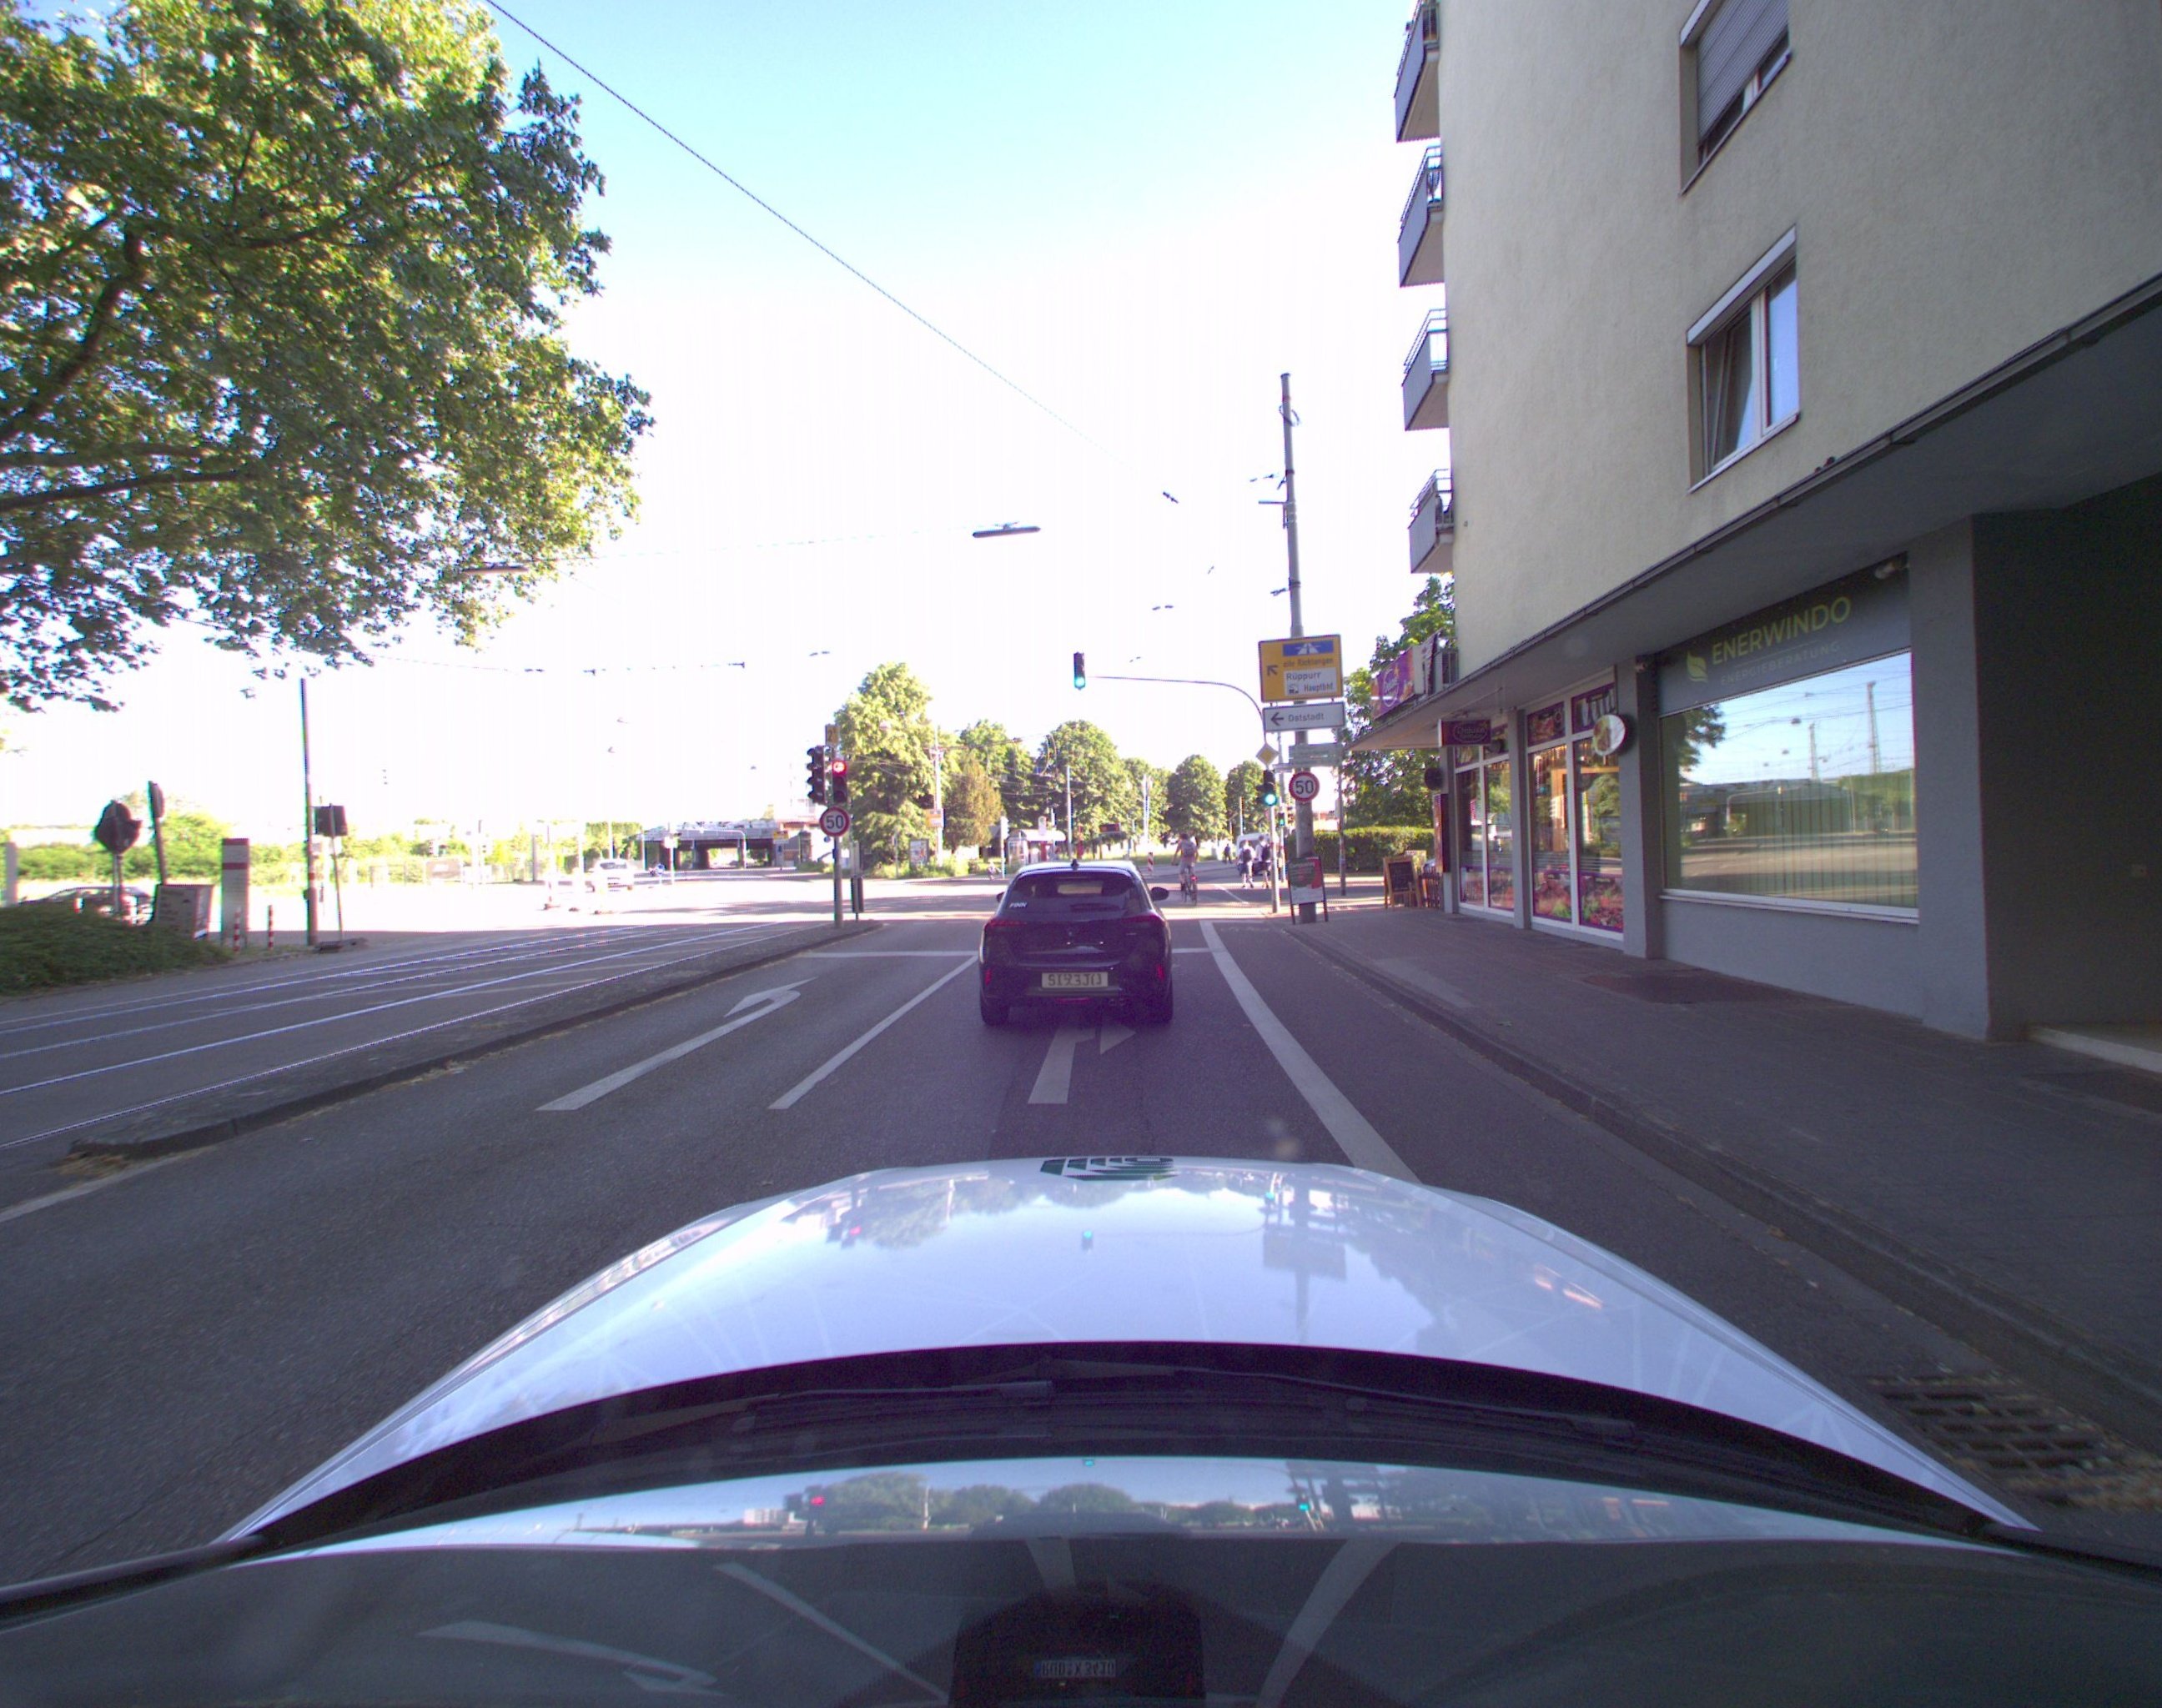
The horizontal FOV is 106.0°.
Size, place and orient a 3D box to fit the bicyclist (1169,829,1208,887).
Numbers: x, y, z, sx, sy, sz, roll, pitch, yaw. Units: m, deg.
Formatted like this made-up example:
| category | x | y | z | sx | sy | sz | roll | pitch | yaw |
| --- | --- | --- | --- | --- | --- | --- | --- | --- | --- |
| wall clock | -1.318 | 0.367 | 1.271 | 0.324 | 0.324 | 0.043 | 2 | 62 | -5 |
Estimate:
| category | x | y | z | sx | sy | sz | roll | pitch | yaw |
| --- | --- | --- | --- | --- | --- | --- | --- | --- | --- |
| bicyclist | 2.904 | 0.106 | 22.159 | 0.837 | 1.510 | 1.368 | -2 | 0 | -1 |

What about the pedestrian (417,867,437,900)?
| category | x | y | z | sx | sy | sz | roll | pitch | yaw |
| --- | --- | --- | --- | --- | --- | --- | --- | --- | --- |
| pedestrian | -32.242 | 1.461 | 40.142 | 0.602 | 1.596 | 0.679 | 0 | -1 | -24 |

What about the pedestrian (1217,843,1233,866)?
| category | x | y | z | sx | sy | sz | roll | pitch | yaw |
| --- | --- | --- | --- | --- | --- | --- | --- | --- | --- |
| pedestrian | 11.604 | 0.049 | 65.500 | 0.949 | 1.793 | 1.001 | -2 | 0 | 27 |

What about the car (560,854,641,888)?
| category | x | y | z | sx | sy | sz | roll | pitch | yaw |
| --- | --- | --- | --- | --- | --- | --- | --- | --- | --- |
| car | -25.277 | 0.900 | 42.790 | 4.570 | 1.631 | 2.013 | -2 | 0 | 36 |

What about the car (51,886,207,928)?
| category | x | y | z | sx | sy | sz | roll | pitch | yaw |
| --- | --- | --- | --- | --- | --- | --- | --- | --- | --- |
| car | -42.388 | 2.333 | 36.415 | 4.007 | 1.419 | 1.880 | -1 | 6 | -25 |

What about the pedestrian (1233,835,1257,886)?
| category | x | y | z | sx | sy | sz | roll | pitch | yaw |
| --- | --- | --- | --- | --- | --- | --- | --- | --- | --- |
| pedestrian | 5.861 | 0.242 | 29.174 | 0.696 | 1.792 | 0.617 | -2 | 0 | 1 |

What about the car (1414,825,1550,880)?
| category | x | y | z | sx | sy | sz | roll | pitch | yaw |
| --- | --- | --- | --- | --- | --- | --- | --- | --- | --- |
| car | 14.782 | -0.029 | 30.233 | 4.150 | 1.814 | 1.811 | -2 | -3 | 9 |

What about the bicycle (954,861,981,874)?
| category | x | y | z | sx | sy | sz | roll | pitch | yaw |
| --- | --- | --- | --- | --- | --- | --- | --- | --- | --- |
| bicycle | -8.637 | 1.018 | 62.014 | 1.866 | 0.906 | 0.661 | -2 | 0 | 8 |

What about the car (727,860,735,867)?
| category | x | y | z | sx | sy | sz | roll | pitch | yaw |
| --- | --- | --- | --- | --- | --- | --- | --- | --- | --- |
| car | -102.930 | 2.806 | 239.685 | 2.003 | 2.014 | 3.967 | 0 | -1 | -25 |

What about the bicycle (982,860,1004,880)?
| category | x | y | z | sx | sy | sz | roll | pitch | yaw |
| --- | --- | --- | --- | --- | --- | --- | --- | --- | --- |
| bicycle | -4.810 | 0.869 | 44.741 | 0.821 | 1.059 | 1.885 | -2 | 0 | 4 |

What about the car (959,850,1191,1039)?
| category | x | y | z | sx | sy | sz | roll | pitch | yaw |
| --- | --- | --- | --- | --- | --- | --- | --- | --- | --- |
| car | 0.048 | 0.709 | 8.421 | 1.793 | 1.441 | 3.943 | -2 | 0 | 3 |

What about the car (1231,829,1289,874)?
| category | x | y | z | sx | sy | sz | roll | pitch | yaw |
| --- | --- | --- | --- | --- | --- | --- | --- | --- | --- |
| car | 9.704 | -0.098 | 43.914 | 2.070 | 2.277 | 4.331 | -1 | -1 | 25 |

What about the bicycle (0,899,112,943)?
| category | x | y | z | sx | sy | sz | roll | pitch | yaw |
| --- | --- | --- | --- | --- | --- | --- | --- | --- | --- |
| bicycle | -23.482 | 1.527 | 18.679 | 1.775 | 0.888 | 0.357 | -2 | 0 | -11 |

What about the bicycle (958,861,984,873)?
| category | x | y | z | sx | sy | sz | roll | pitch | yaw |
| --- | --- | --- | --- | --- | --- | --- | --- | --- | --- |
| bicycle | -8.518 | 0.998 | 62.998 | 1.866 | 0.906 | 0.661 | -2 | 0 | 8 |

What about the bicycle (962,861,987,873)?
| category | x | y | z | sx | sy | sz | roll | pitch | yaw |
| --- | --- | --- | --- | --- | --- | --- | --- | --- | --- |
| bicycle | -8.348 | 0.999 | 63.866 | 1.866 | 0.906 | 0.661 | -2 | 0 | 8 |

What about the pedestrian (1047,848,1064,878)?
| category | x | y | z | sx | sy | sz | roll | pitch | yaw |
| --- | --- | --- | --- | --- | --- | --- | --- | --- | --- |
| pedestrian | -1.427 | 0.501 | 46.069 | 0.701 | 1.693 | 0.722 | -2 | 0 | -22 |

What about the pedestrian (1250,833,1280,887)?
| category | x | y | z | sx | sy | sz | roll | pitch | yaw |
| --- | --- | --- | --- | --- | --- | --- | --- | --- | --- |
| pedestrian | 6.460 | 0.200 | 28.593 | 0.696 | 1.846 | 0.705 | -2 | 0 | 41 |

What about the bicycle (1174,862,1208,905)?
| category | x | y | z | sx | sy | sz | roll | pitch | yaw |
| --- | --- | --- | --- | --- | --- | --- | --- | --- | --- |
| bicycle | 2.958 | 0.775 | 22.096 | 0.665 | 1.059 | 2.082 | -2 | 0 | 1 |
